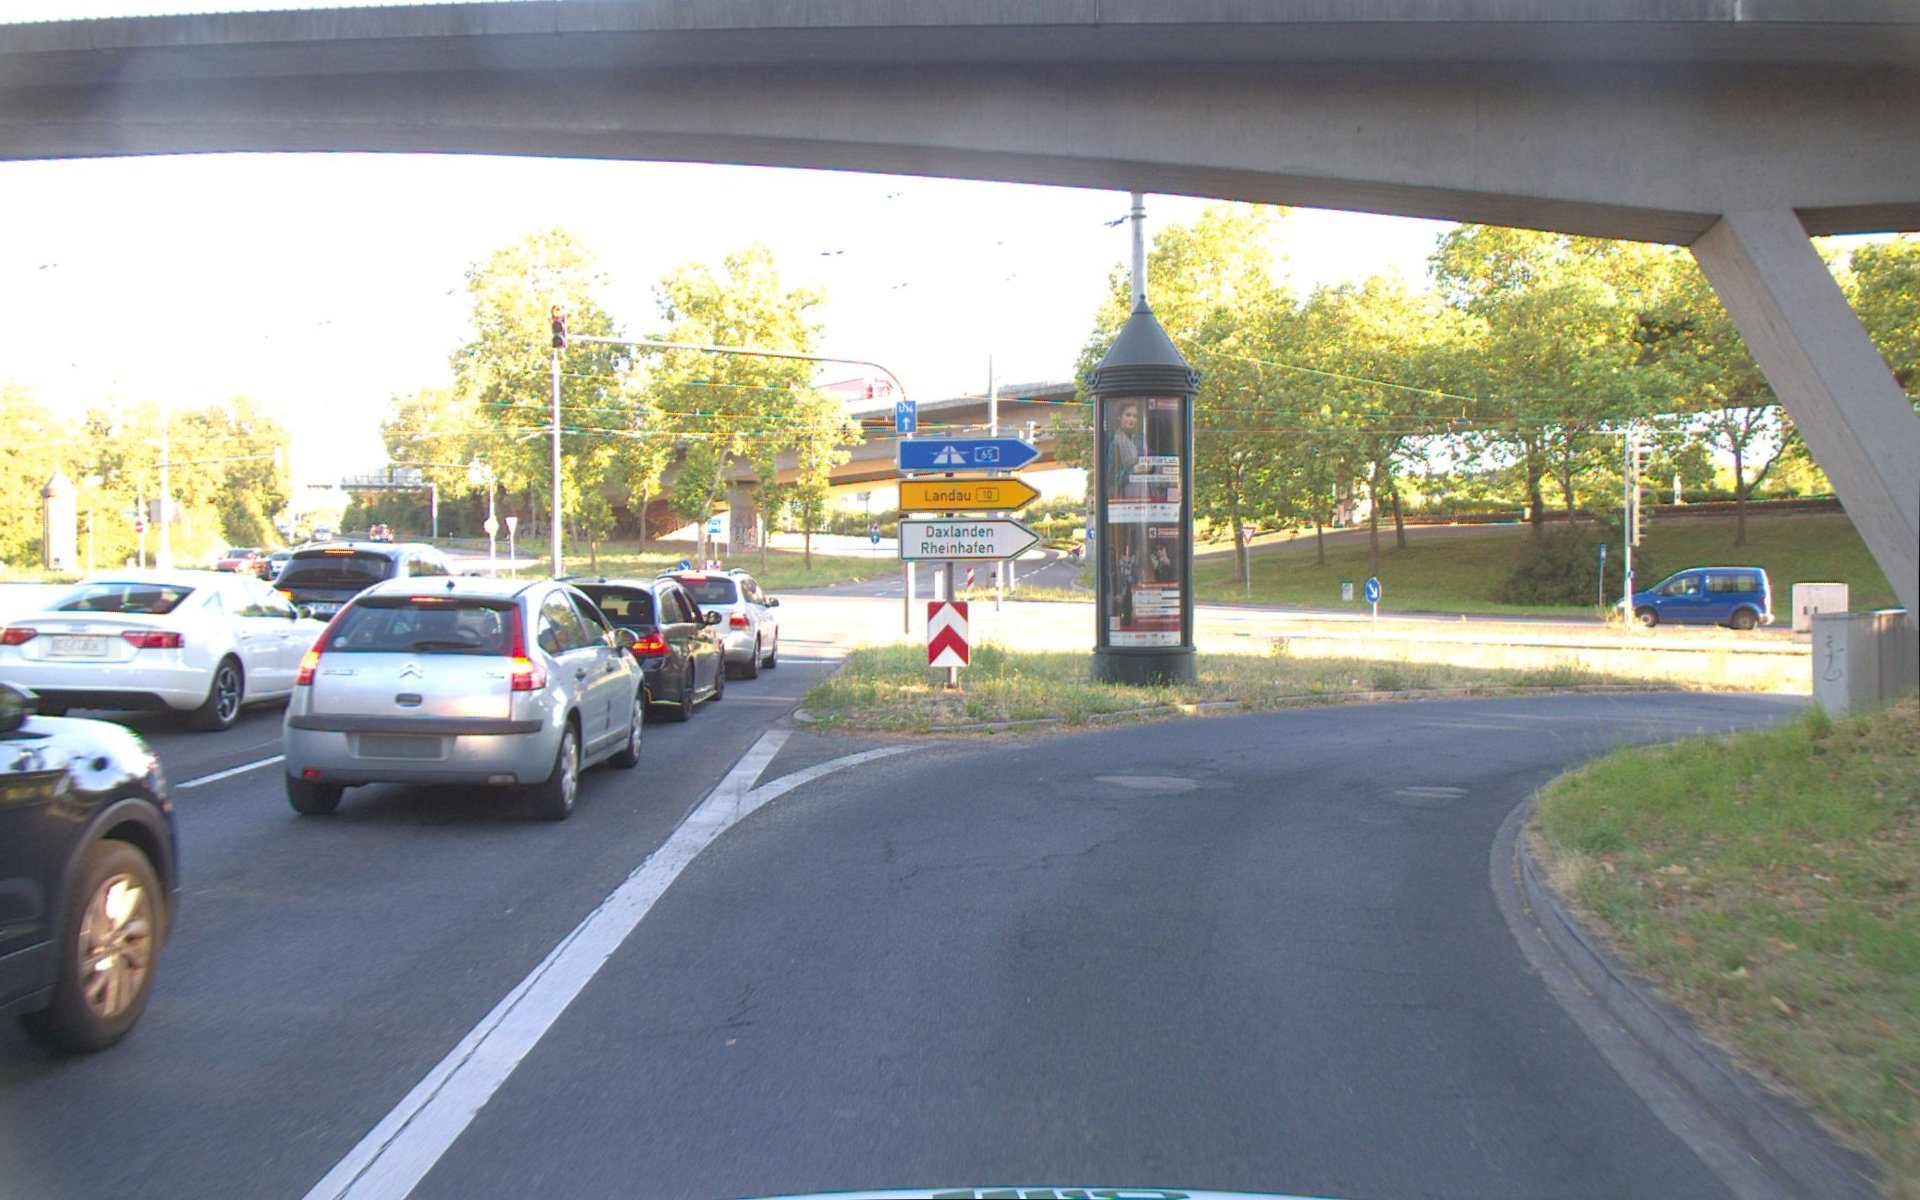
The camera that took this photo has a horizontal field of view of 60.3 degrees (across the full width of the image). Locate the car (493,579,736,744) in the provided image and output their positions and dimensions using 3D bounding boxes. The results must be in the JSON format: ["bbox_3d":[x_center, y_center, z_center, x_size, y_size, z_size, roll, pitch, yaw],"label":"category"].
[{"bbox_3d":[-3.542,0.547,17.777,1.756,1.406,4.475,-2,2,-2],"label":"car"}]

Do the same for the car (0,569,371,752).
[{"bbox_3d":[-7.324,0.464,15.942,1.706,1.457,4.412,1,2,0],"label":"car"}]

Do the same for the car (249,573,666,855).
[{"bbox_3d":[-3.262,0.627,11.594,1.756,1.507,3.999,-2,2,-2],"label":"car"}]

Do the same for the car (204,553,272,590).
[{"bbox_3d":[-36.427,-1.478,83.543,1.841,1.802,3.998,1,2,-3],"label":"car"}]

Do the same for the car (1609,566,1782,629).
[{"bbox_3d":[21.494,-0.100,48.532,4.409,1.722,2.001,1,2,18],"label":"car"}]

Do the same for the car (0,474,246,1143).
[{"bbox_3d":[-3.445,0.598,3.977,1.756,1.780,3.999,-2,2,-2],"label":"car"}]

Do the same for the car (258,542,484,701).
[{"bbox_3d":[-7.736,0.192,22.217,1.758,1.823,4.820,-2,2,-7],"label":"car"}]

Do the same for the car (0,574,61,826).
[{"bbox_3d":[-6.894,0.714,9.122,1.629,1.592,4.189,-2,2,-2],"label":"car"}]

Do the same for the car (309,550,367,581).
[{"bbox_3d":[-32.570,-1.828,86.723,1.841,1.602,3.673,1,2,-3],"label":"car"}]

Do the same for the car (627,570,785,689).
[{"bbox_3d":[-3.610,0.359,24.135,1.756,1.467,3.999,-2,2,-2],"label":"car"}]

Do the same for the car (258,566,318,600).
[{"bbox_3d":[-37.107,-0.961,91.407,1.841,1.802,3.998,1,2,-3],"label":"car"}]
